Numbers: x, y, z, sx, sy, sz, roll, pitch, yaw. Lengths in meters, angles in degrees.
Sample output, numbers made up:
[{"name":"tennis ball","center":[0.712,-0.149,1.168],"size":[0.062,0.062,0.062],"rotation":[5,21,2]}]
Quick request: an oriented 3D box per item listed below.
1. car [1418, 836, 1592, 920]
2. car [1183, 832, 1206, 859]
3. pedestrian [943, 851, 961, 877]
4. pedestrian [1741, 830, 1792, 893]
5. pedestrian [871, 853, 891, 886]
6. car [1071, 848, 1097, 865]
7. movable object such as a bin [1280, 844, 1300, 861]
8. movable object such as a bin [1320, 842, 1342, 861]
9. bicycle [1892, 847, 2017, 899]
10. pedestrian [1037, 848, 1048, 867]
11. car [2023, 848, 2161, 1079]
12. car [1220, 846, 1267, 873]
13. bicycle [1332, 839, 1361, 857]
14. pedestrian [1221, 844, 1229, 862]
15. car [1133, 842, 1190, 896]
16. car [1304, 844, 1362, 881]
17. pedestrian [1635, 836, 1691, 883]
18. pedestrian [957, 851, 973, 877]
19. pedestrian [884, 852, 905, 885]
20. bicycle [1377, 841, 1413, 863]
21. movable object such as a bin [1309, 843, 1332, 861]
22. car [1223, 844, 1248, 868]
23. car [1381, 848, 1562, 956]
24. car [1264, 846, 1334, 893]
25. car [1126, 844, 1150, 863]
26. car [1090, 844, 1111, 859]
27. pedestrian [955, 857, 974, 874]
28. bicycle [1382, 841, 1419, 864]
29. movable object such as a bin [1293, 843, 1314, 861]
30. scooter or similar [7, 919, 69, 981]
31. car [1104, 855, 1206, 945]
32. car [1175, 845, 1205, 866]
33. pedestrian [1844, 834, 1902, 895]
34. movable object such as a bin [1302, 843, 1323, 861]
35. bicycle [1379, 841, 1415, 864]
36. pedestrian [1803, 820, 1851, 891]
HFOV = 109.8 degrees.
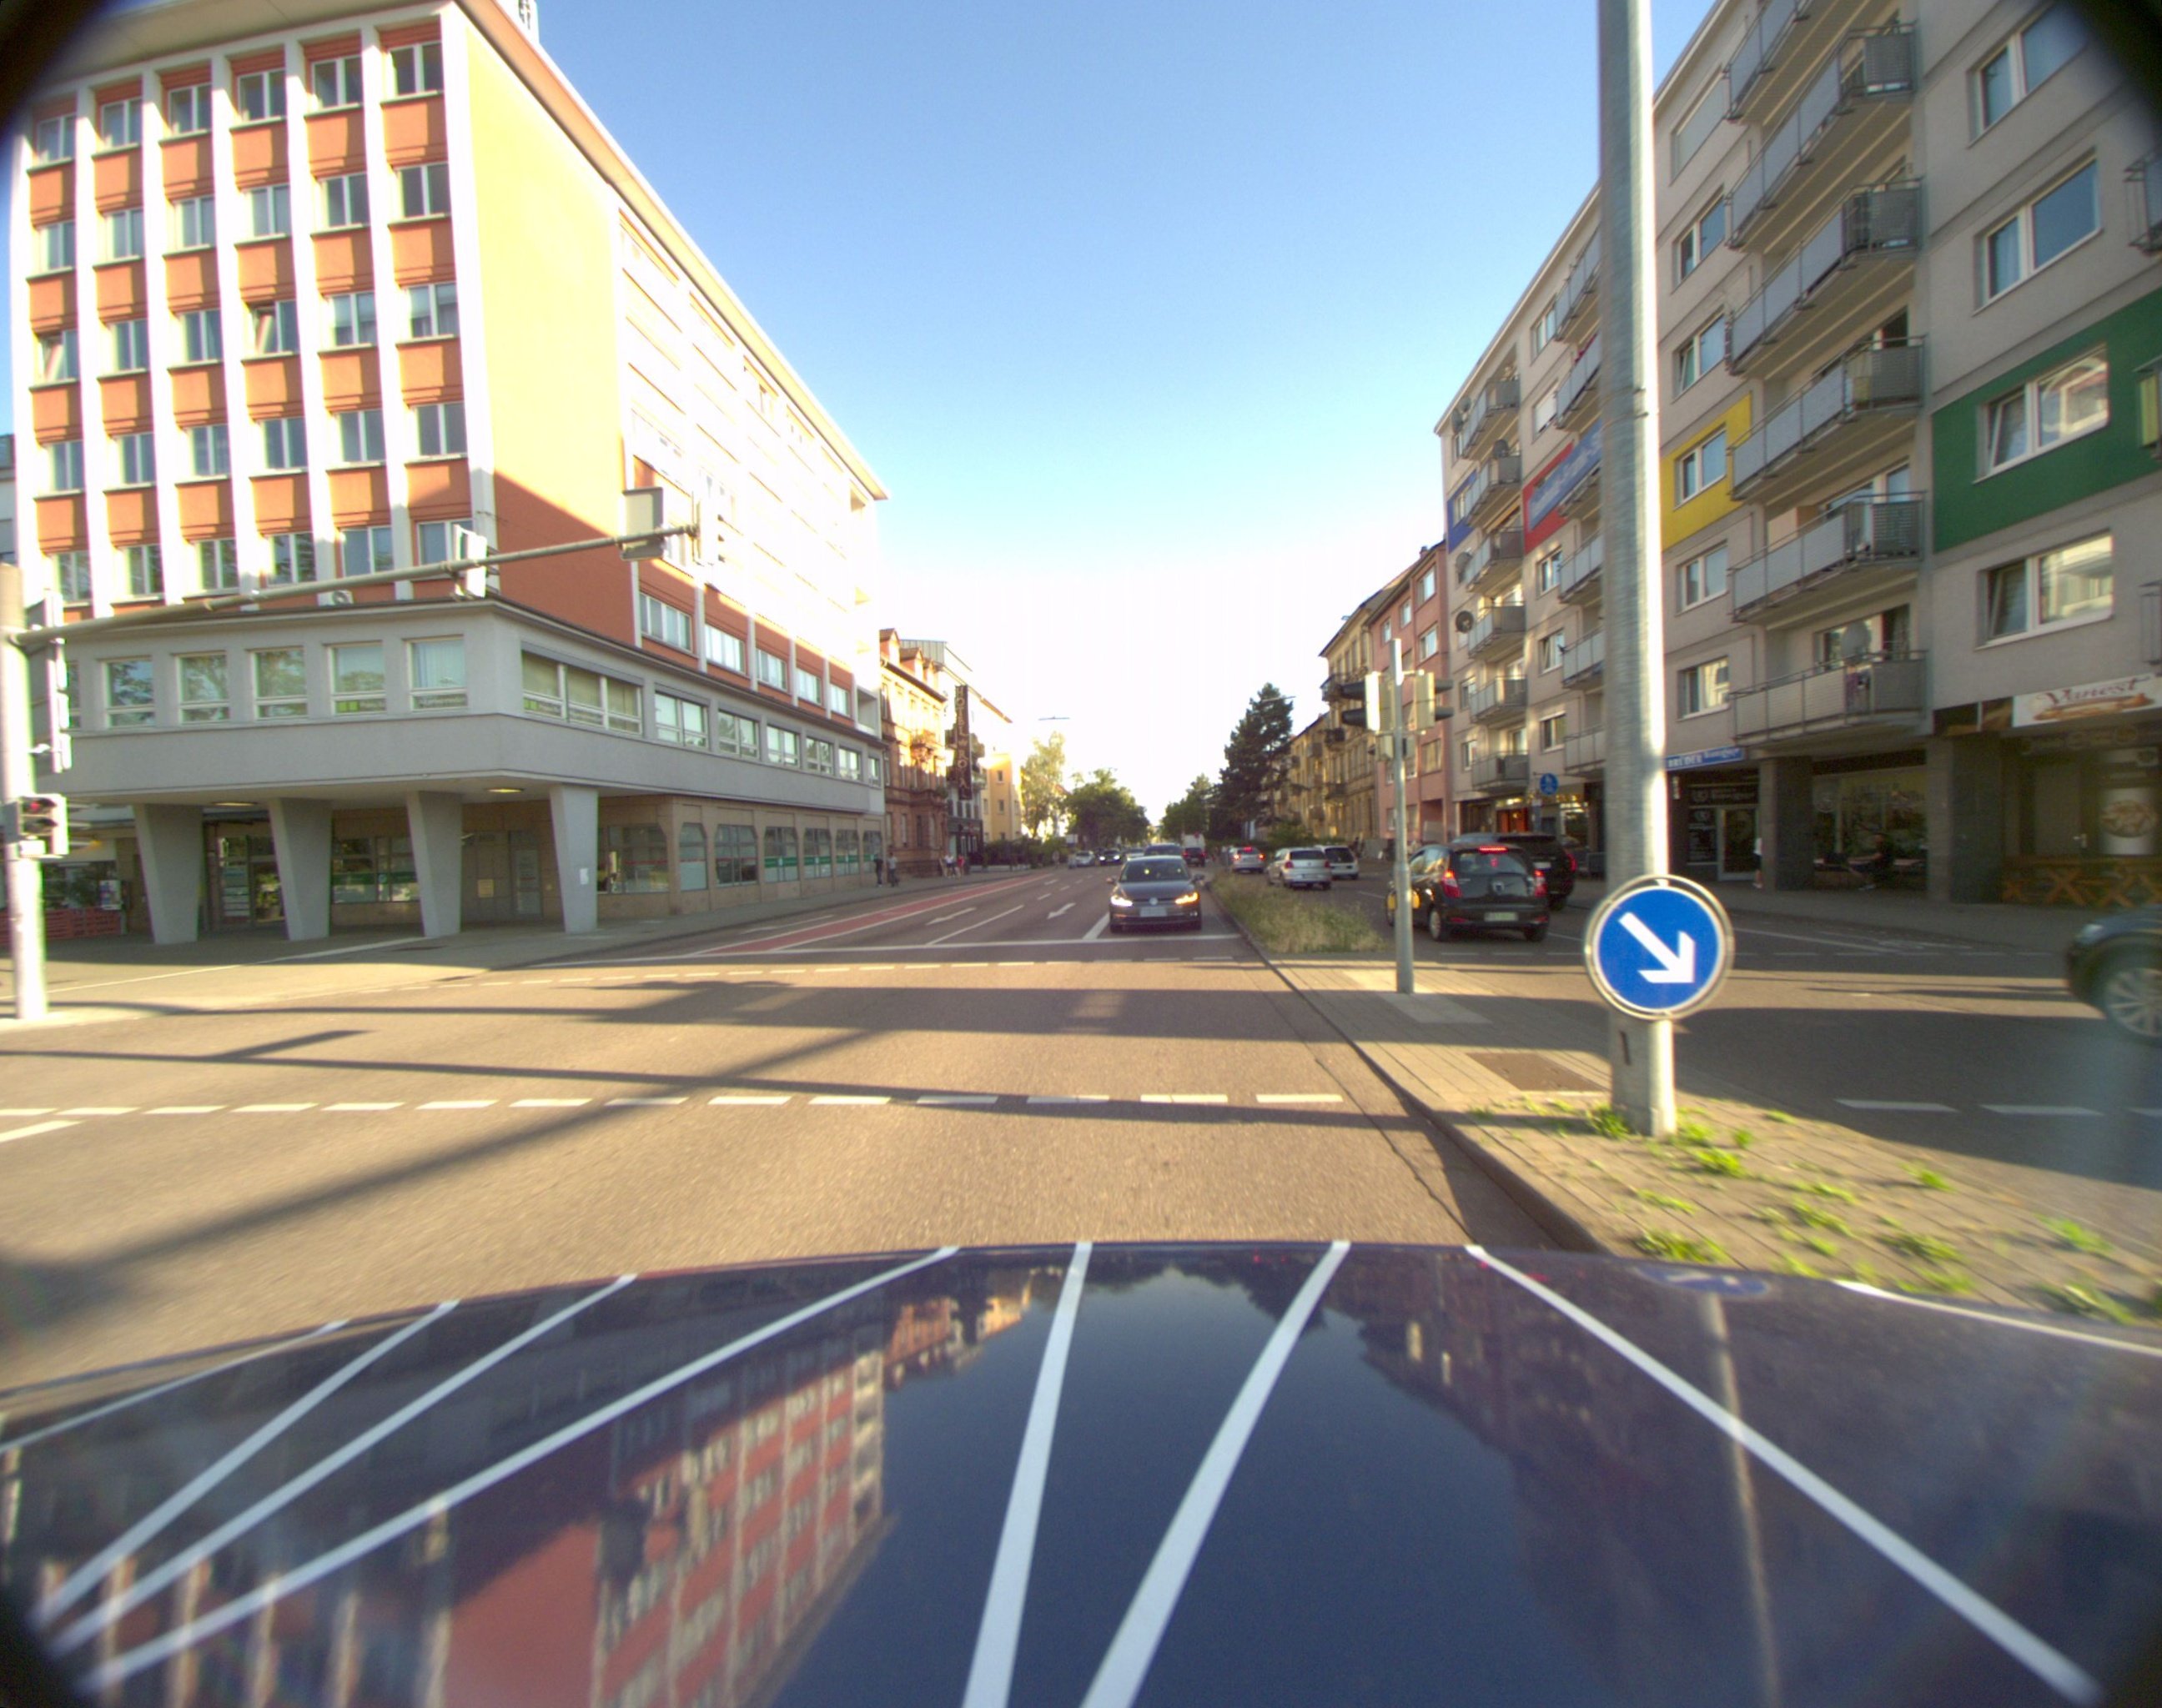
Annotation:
[{"name":"car","center":[9.743,0.468,17.964],"size":[1.819,1.701,4.787],"rotation":[-1,1,5]},{"name":"car","center":[11.819,-0.931,79.614],"size":[2.134,2.741,4.467],"rotation":[-1,1,6]},{"name":"pedestrian","center":[-8.322,0.645,49.121],"size":[0.786,1.579,1.012],"rotation":[2,2,11]},{"name":"pedestrian","center":[16.594,0.176,18.408],"size":[0.625,1.458,0.658],"rotation":[-2,1,-4]},{"name":"pedestrian","center":[-10.711,0.844,40.764],"size":[0.667,1.716,1.011],"rotation":[-2,1,7]},{"name":"car","center":[0.337,0.202,72.320],"size":[1.904,1.509,4.076],"rotation":[-2,1,7]},{"name":"movable object such as a bin","center":[15.407,-0.095,55.986],"size":[1.195,1.226,0.847],"rotation":[-3,1,-42]},{"name":"movable object such as a bin","center":[17.432,-0.170,52.899],"size":[1.195,1.226,0.847],"rotation":[-3,1,-33]},{"name":"bicycle","center":[18.162,0.374,15.853],"size":[0.626,0.993,1.697],"rotation":[-2,1,-3]},{"name":"pedestrian","center":[-3.424,0.301,67.294],"size":[0.738,1.593,1.011],"rotation":[1,2,8]},{"name":"car","center":[8.119,0.743,3.848],"size":[1.798,1.556,4.149],"rotation":[-1,0,6]},{"name":"car","center":[8.864,0.280,41.778],"size":[1.713,1.417,4.101],"rotation":[-1,1,0]},{"name":"bicycle","center":[18.284,-0.391,52.312],"size":[1.779,1.184,0.473],"rotation":[-2,1,4]},{"name":"pedestrian","center":[13.082,-0.115,68.989],"size":[0.577,1.591,0.481],"rotation":[-2,1,7]},{"name":"car","center":[3.014,0.484,28.375],"size":[1.894,1.843,4.468],"rotation":[-1,1,6]},{"name":"car","center":[11.120,0.343,33.731],"size":[1.679,1.535,3.639],"rotation":[-1,1,5]},{"name":"pedestrian","center":[17.232,0.149,22.510],"size":[0.973,1.339,0.883],"rotation":[-2,1,7]},{"name":"pedestrian","center":[-7.461,0.629,48.882],"size":[0.737,1.579,1.012],"rotation":[2,2,11]},{"name":"pedestrian","center":[-9.974,0.761,40.694],"size":[0.667,1.716,1.011],"rotation":[-2,2,8]},{"name":"bicycle","center":[17.752,-0.108,42.922],"size":[1.779,1.184,0.473],"rotation":[-2,1,4]},{"name":"movable object such as a bin","center":[16.945,-0.155,53.704],"size":[1.294,1.226,0.927],"rotation":[-3,1,-33]},{"name":"car","center":[10.507,0.113,51.760],"size":[1.538,1.584,2.810],"rotation":[-1,1,8]},{"name":"car","center":[6.311,0.686,12.697],"size":[1.581,1.536,3.478],"rotation":[-1,1,7]},{"name":"car","center":[7.692,0.491,27.077],"size":[1.679,1.535,3.807],"rotation":[-1,1,5]},{"name":"car","center":[5.074,-0.059,67.304],"size":[1.906,1.532,4.001],"rotation":[-2,1,6]},{"name":"car","center":[2.304,-0.267,88.386],"size":[1.946,1.616,4.195],"rotation":[-2,1,6]},{"name":"pedestrian","center":[-8.193,0.769,53.345],"size":[1.100,1.129,0.925],"rotation":[-2,1,4]},{"name":"bicycle","center":[17.505,-0.080,41.628],"size":[1.779,1.184,0.473],"rotation":[-2,1,4]},{"name":"movable object such as a bin","center":[16.210,-0.135,55.396],"size":[1.195,1.226,0.847],"rotation":[-3,1,-33]},{"name":"scooter or similar","center":[-22.764,2.076,16.586],"size":[1.557,1.228,0.485],"rotation":[0,2,26]},{"name":"car","center":[1.617,0.856,16.037],"size":[1.770,1.450,4.271],"rotation":[-3,1,7]},{"name":"car","center":[8.330,0.074,58.162],"size":[1.679,1.535,4.101],"rotation":[-1,1,0]},{"name":"pedestrian","center":[17.682,0.234,16.965],"size":[0.627,1.306,0.808],"rotation":[-3,2,-37]},{"name":"movable object such as a bin","center":[16.656,-0.150,54.637],"size":[1.195,1.226,0.847],"rotation":[-3,1,-33]},{"name":"bicycle","center":[17.608,-0.090,42.355],"size":[1.779,1.184,0.473],"rotation":[-2,1,4]},{"name":"pedestrian","center":[17.880,0.034,18.223],"size":[0.626,1.663,0.657],"rotation":[-3,2,-29]}]
